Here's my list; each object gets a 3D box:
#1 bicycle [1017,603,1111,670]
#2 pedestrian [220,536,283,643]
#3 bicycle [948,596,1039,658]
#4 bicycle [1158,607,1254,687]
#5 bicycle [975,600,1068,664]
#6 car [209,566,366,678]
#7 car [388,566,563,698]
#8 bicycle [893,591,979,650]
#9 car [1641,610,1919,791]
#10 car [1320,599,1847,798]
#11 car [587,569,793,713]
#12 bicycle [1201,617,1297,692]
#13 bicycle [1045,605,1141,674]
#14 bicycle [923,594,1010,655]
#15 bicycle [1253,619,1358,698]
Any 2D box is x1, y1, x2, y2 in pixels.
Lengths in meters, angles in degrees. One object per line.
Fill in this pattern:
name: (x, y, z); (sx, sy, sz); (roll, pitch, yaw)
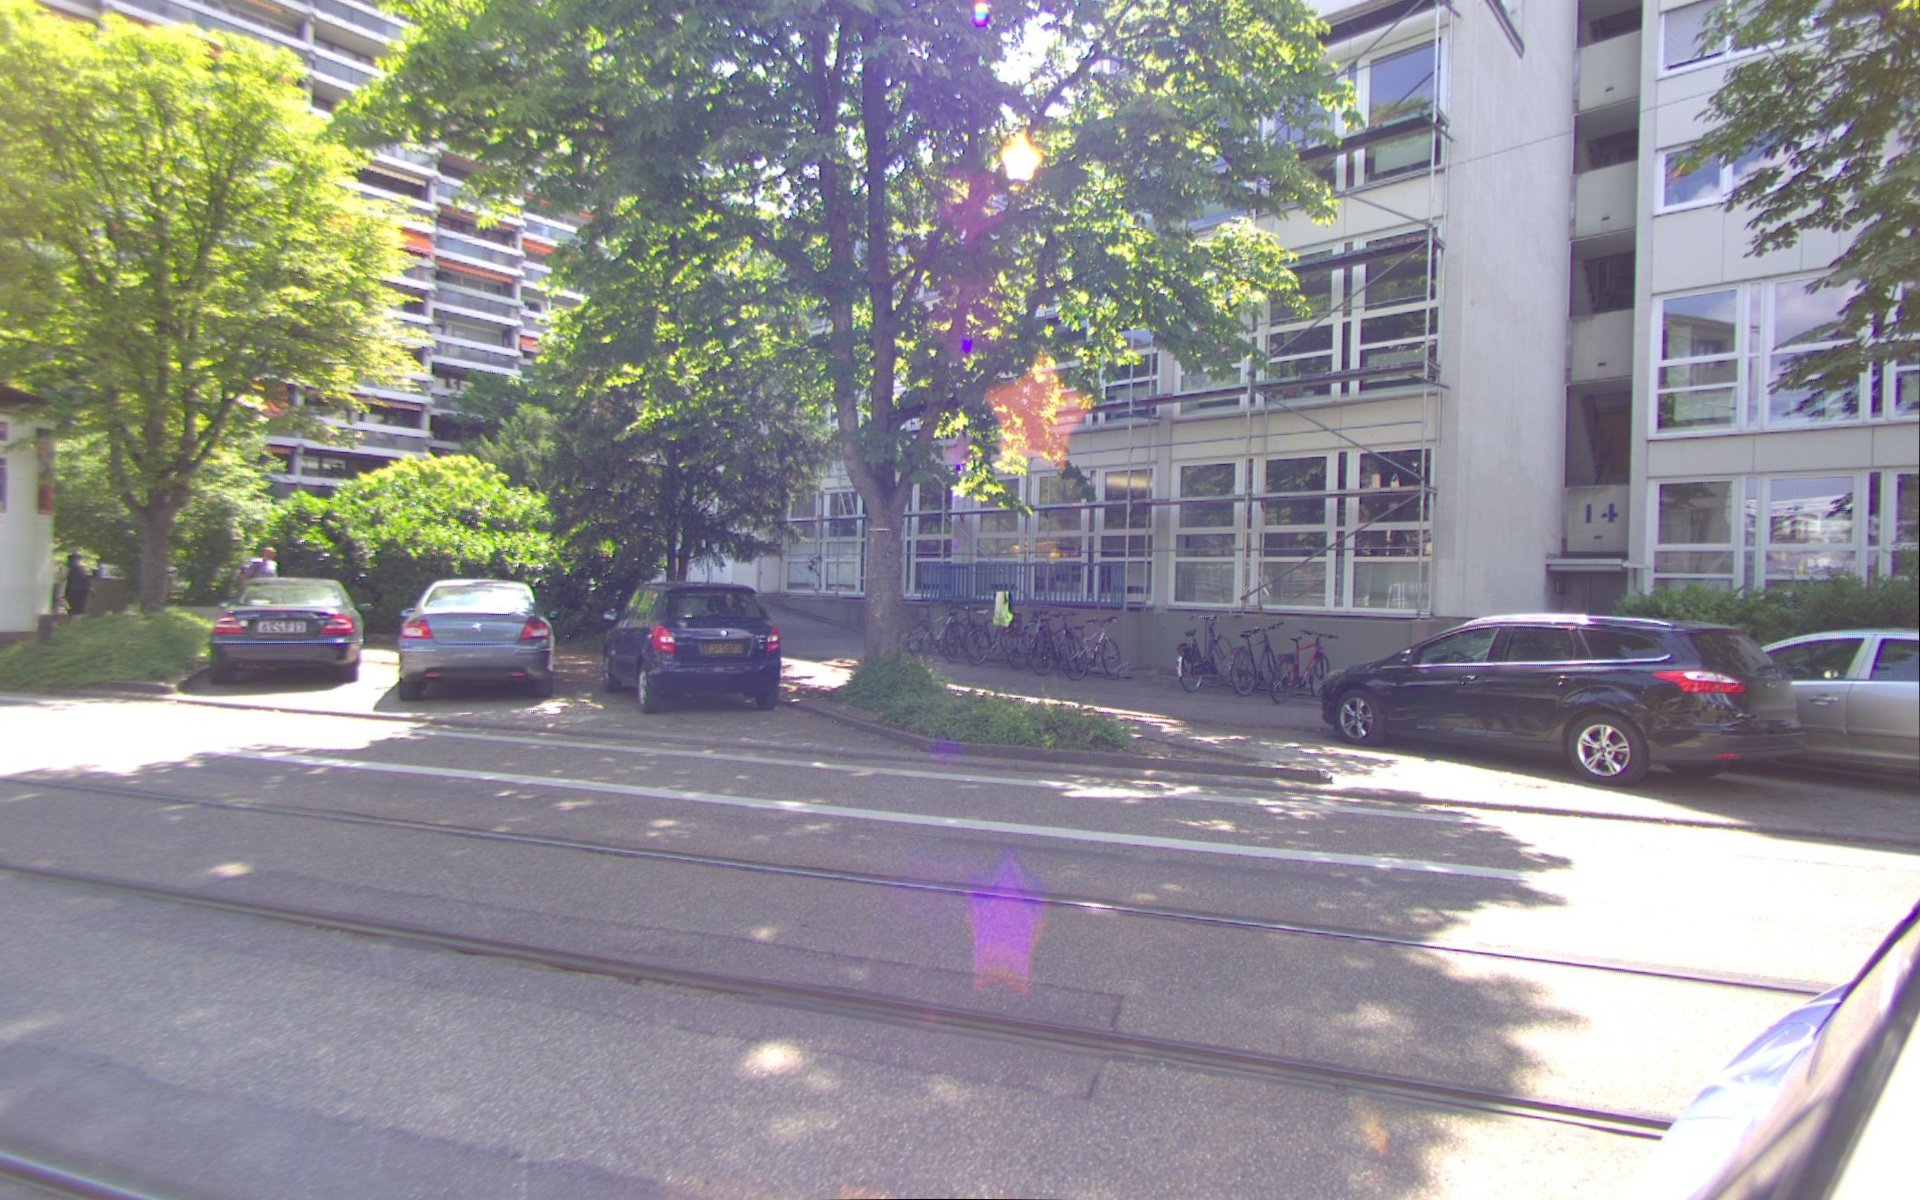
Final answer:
bicycle: (1.911, 0.660, 18.467); (1.910, 1.145, 0.567); (2, 0, -43)
pedestrian: (-12.878, -0.185, 18.400); (0.573, 1.898, 0.708); (1, -1, 30)
bicycle: (0.665, 0.522, 19.672); (1.895, 1.145, 0.567); (2, 0, -43)
bicycle: (4.107, 0.759, 16.827); (1.910, 1.253, 0.567); (2, 0, -43)
bicycle: (1.181, 0.598, 19.133); (1.910, 1.145, 0.567); (2, 0, -43)
car: (-9.579, 0.248, 14.661); (1.597, 1.390, 4.027); (1, 0, -30)
car: (-6.389, 0.345, 13.552); (1.782, 1.481, 4.030); (2, 0, -24)
bicycle: (-0.471, 0.420, 20.710); (0.567, 1.145, 1.897); (1, 0, 44)
car: (8.732, 0.902, 9.442); (1.719, 1.481, 3.544); (2, 0, -30)
car: (5.922, 0.793, 10.198); (1.719, 1.488, 4.202); (2, 0, -30)
car: (-3.527, 0.429, 12.783); (1.617, 1.536, 3.580); (2, 0, -30)
bicycle: (4.710, 0.860, 16.395); (1.910, 1.145, 0.567); (2, 0, -43)
bicycle: (2.369, 0.683, 17.816); (1.910, 1.145, 0.567); (2, 0, -43)
bicycle: (0.152, 0.487, 20.246); (0.567, 1.145, 1.897); (1, 0, 44)
bicycle: (5.428, 0.888, 15.828); (2.196, 1.145, 0.567); (2, 0, -43)
